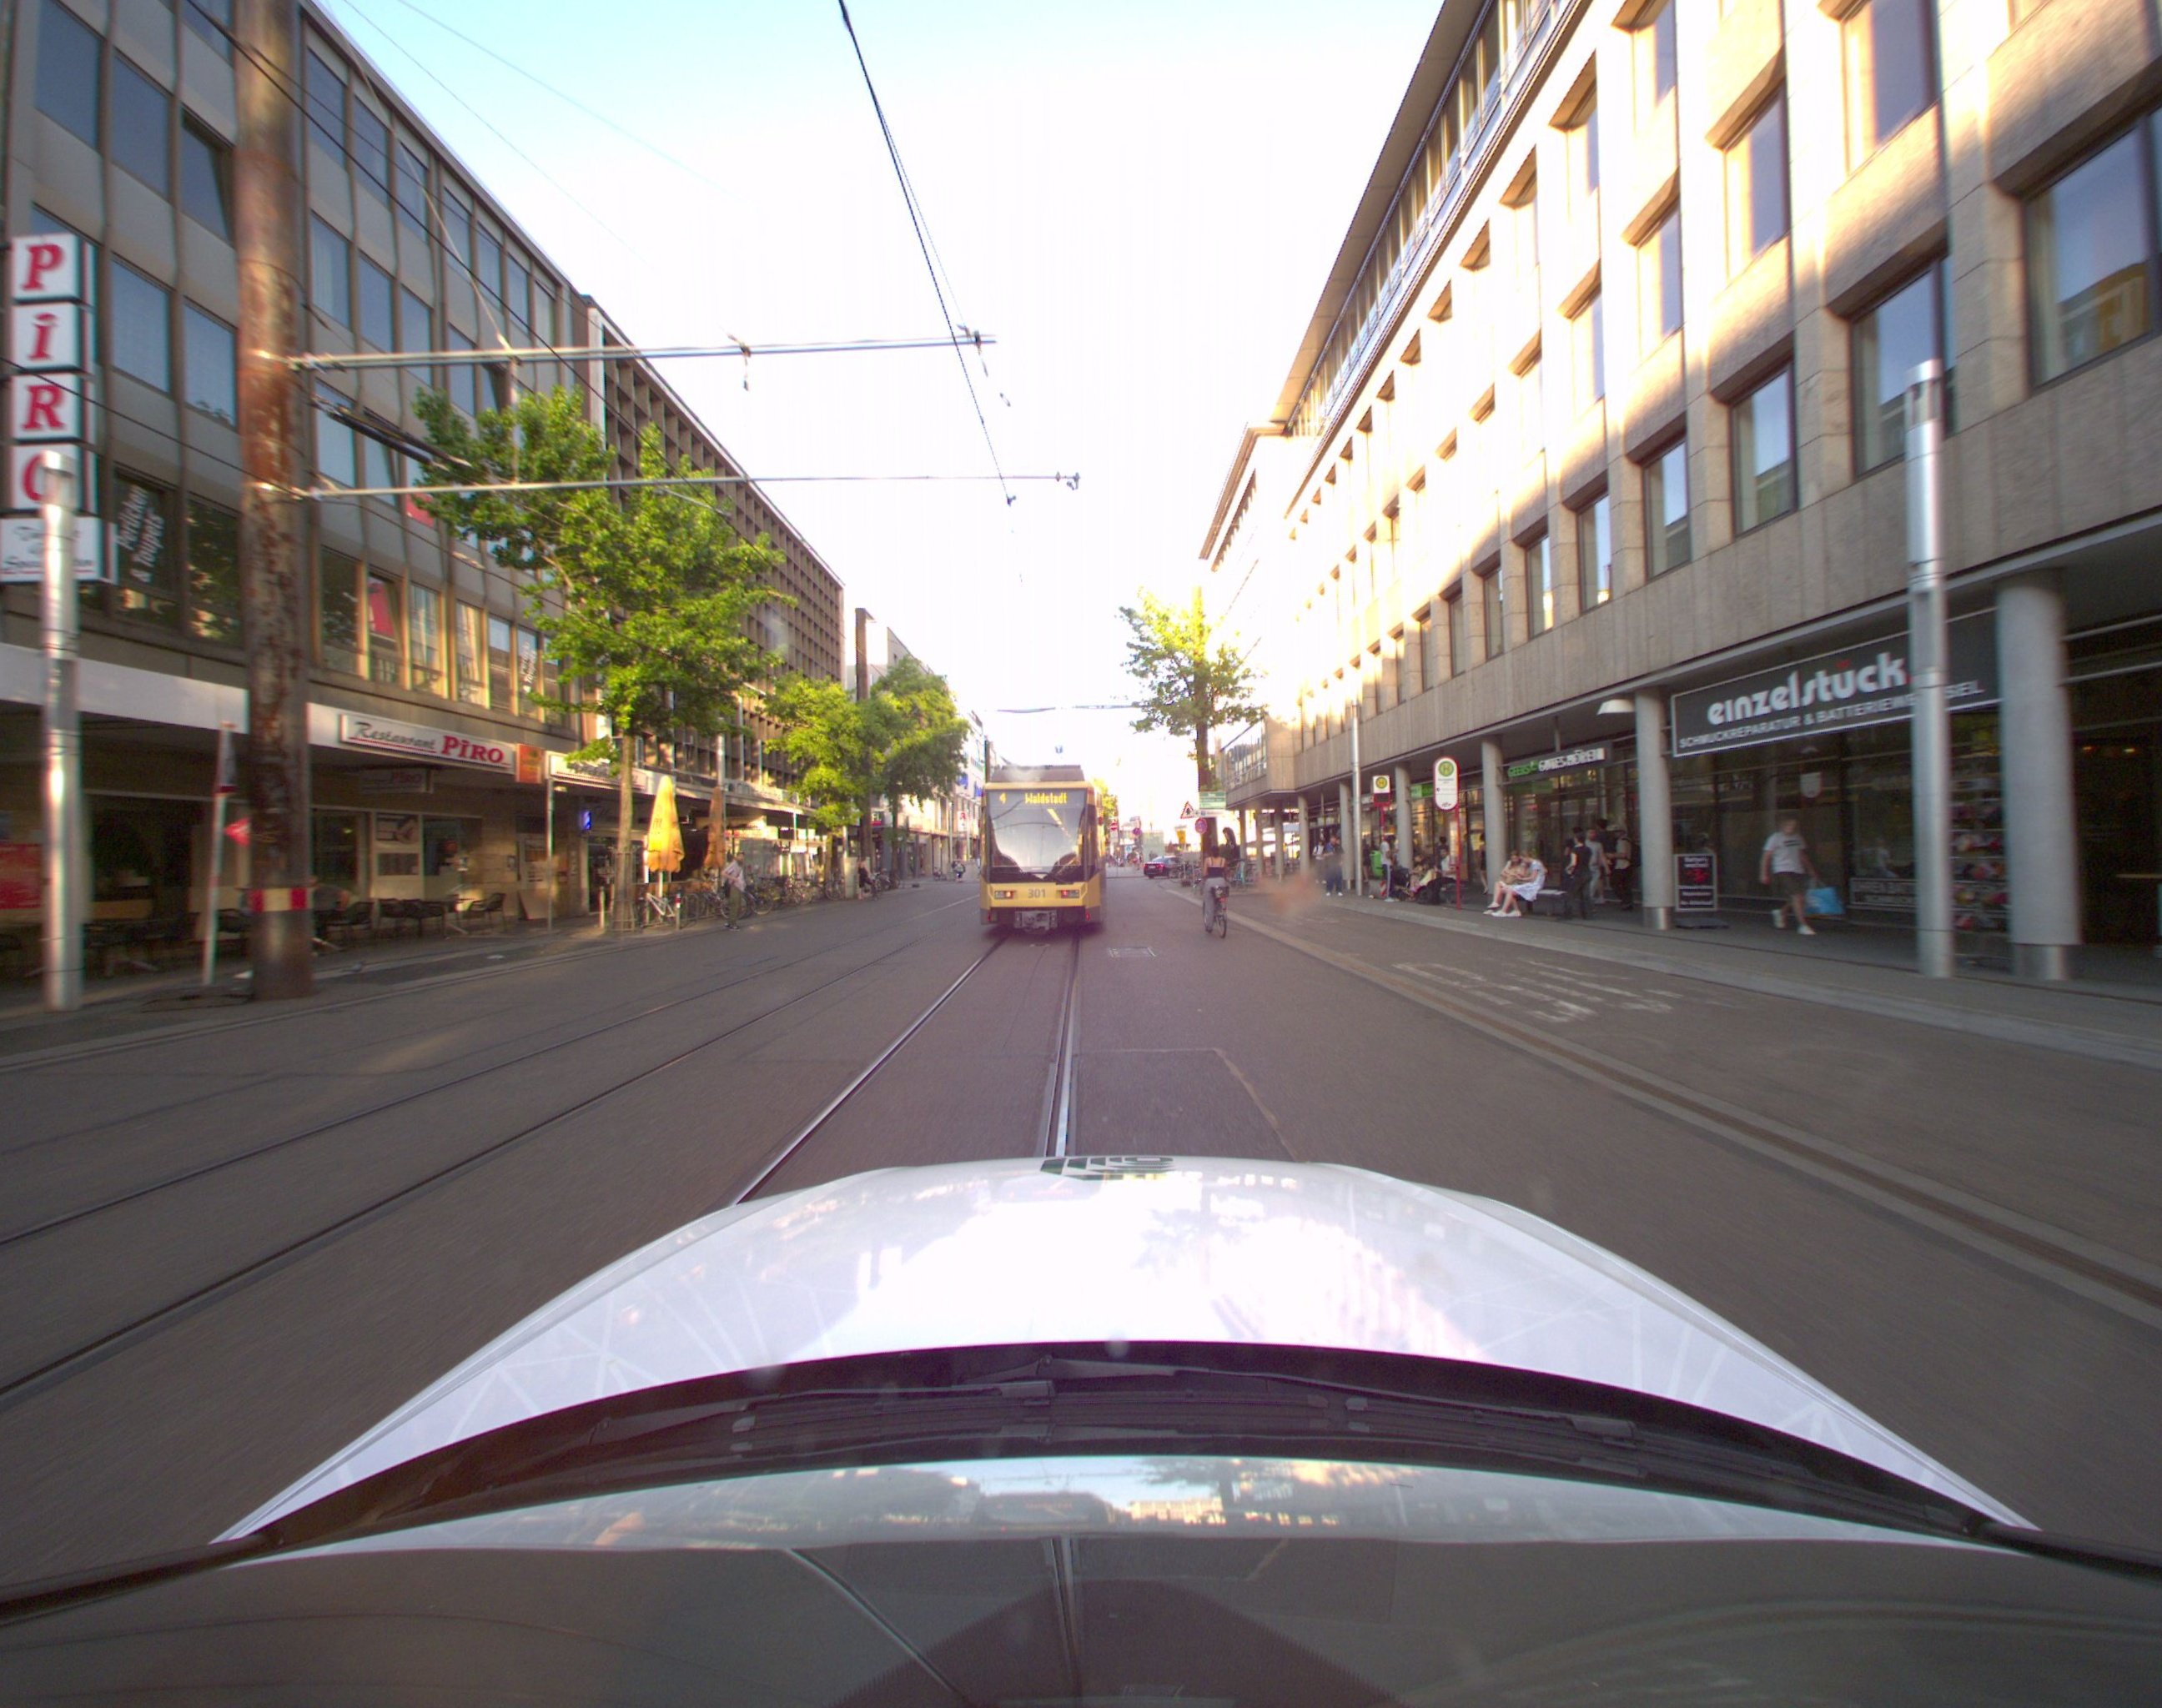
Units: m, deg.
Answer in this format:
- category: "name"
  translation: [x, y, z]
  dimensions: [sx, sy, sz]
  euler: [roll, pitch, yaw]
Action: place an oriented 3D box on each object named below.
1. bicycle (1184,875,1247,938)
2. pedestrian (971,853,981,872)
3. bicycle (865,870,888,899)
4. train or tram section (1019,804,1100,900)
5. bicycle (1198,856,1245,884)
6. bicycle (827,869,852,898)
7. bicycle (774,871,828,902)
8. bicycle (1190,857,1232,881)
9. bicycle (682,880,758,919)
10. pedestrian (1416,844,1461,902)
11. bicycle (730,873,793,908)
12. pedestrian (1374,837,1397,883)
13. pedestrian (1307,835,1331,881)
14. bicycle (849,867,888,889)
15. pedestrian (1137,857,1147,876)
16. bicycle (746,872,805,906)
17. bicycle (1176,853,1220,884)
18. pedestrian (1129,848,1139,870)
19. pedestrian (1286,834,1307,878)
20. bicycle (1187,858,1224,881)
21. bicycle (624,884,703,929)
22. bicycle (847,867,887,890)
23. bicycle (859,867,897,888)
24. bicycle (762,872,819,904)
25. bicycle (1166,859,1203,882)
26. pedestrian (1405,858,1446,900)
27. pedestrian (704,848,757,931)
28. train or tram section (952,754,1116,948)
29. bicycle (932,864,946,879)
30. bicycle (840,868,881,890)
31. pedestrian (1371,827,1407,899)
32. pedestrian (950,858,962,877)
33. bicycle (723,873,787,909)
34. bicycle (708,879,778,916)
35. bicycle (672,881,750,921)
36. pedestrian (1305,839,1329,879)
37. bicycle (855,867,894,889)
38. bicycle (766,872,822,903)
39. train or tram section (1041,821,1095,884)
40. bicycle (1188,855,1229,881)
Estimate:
- category: "bicycle"
  translation: [2.554, 0.969, 15.731]
  dimensions: [0.813, 1.073, 2.112]
  euler: [0, 0, -2]
- category: "pedestrian"
  translation: [-9.830, 0.798, 76.131]
  dimensions: [0.632, 1.725, 0.598]
  euler: [-1, -2, -43]
- category: "bicycle"
  translation: [-7.989, 1.176, 31.819]
  dimensions: [0.486, 1.045, 1.776]
  euler: [-1, 0, -2]
- category: "train or tram section"
  translation: [-0.722, -0.075, 36.043]
  dimensions: [2.791, 3.319, 14.507]
  euler: [-2, 0, 0]
- category: "bicycle"
  translation: [6.602, 0.753, 38.320]
  dimensions: [1.992, 1.155, 0.724]
  euler: [-4, 0, -5]
- category: "bicycle"
  translation: [-9.358, 1.141, 31.628]
  dimensions: [0.486, 1.045, 1.776]
  euler: [-1, 0, -2]
- category: "bicycle"
  translation: [-10.070, 1.170, 29.333]
  dimensions: [1.769, 1.071, 0.488]
  euler: [0, 0, -6]
- category: "bicycle"
  translation: [6.590, 0.775, 41.331]
  dimensions: [1.912, 1.077, 0.762]
  euler: [-4, 0, -5]
- category: "bicycle"
  translation: [-9.616, 1.214, 21.722]
  dimensions: [1.769, 0.990, 0.488]
  euler: [0, 1, -6]
- category: "pedestrian"
  translation: [8.749, 0.452, 19.946]
  dimensions: [0.810, 1.381, 0.662]
  euler: [-1, -1, 2]
- category: "bicycle"
  translation: [-10.049, 1.141, 25.674]
  dimensions: [1.769, 1.071, 0.488]
  euler: [0, 0, -6]
- category: "pedestrian"
  translation: [11.666, 0.220, 31.240]
  dimensions: [0.568, 1.731, 0.617]
  euler: [-2, -1, -1]
- category: "pedestrian"
  translation: [9.767, 0.179, 33.463]
  dimensions: [0.666, 1.839, 0.880]
  euler: [-2, -1, 0]
- category: "bicycle"
  translation: [-10.218, 1.169, 39.197]
  dimensions: [1.766, 1.045, 0.489]
  euler: [0, 0, 0]
- category: "pedestrian"
  translation: [6.011, 1.211, 80.833]
  dimensions: [0.734, 1.823, 0.816]
  euler: [-1, 0, -14]
- category: "bicycle"
  translation: [-10.085, 1.151, 26.915]
  dimensions: [1.769, 1.071, 0.488]
  euler: [0, 0, -6]
- category: "bicycle"
  translation: [5.623, 0.690, 39.243]
  dimensions: [1.912, 1.333, 0.724]
  euler: [-4, 0, -5]
- category: "pedestrian"
  translation: [4.215, 0.407, 65.359]
  dimensions: [0.715, 1.725, 0.709]
  euler: [-2, -1, 0]
- category: "pedestrian"
  translation: [10.069, 0.108, 38.111]
  dimensions: [0.684, 2.013, 0.783]
  euler: [-2, -1, 1]
- category: "bicycle"
  translation: [6.669, 0.810, 43.666]
  dimensions: [1.848, 1.109, 0.666]
  euler: [-3, 0, -3]
- category: "bicycle"
  translation: [-9.622, 1.196, 18.771]
  dimensions: [1.758, 0.966, 0.491]
  euler: [0, -1, 17]
- category: "bicycle"
  translation: [-10.224, 1.167, 38.954]
  dimensions: [1.766, 1.045, 0.489]
  euler: [0, 0, 0]
- category: "bicycle"
  translation: [-10.163, 1.181, 40.838]
  dimensions: [1.766, 1.045, 0.489]
  euler: [0, 0, 0]
- category: "bicycle"
  translation: [-10.038, 1.160, 28.135]
  dimensions: [1.769, 1.071, 0.488]
  euler: [0, 0, -6]
- category: "bicycle"
  translation: [5.532, 0.867, 43.525]
  dimensions: [1.848, 1.109, 0.666]
  euler: [-3, 0, -3]
- category: "pedestrian"
  translation: [8.786, 0.634, 20.788]
  dimensions: [0.810, 1.042, 0.544]
  euler: [-1, -1, 2]
- category: "pedestrian"
  translation: [-7.940, 0.783, 18.441]
  dimensions: [0.826, 1.792, 0.979]
  euler: [-1, -1, -40]
- category: "train or tram section"
  translation: [-0.795, -0.067, 21.540]
  dimensions: [2.791, 3.319, 14.507]
  euler: [-2, 0, 0]
- category: "bicycle"
  translation: [-10.809, 1.320, 62.079]
  dimensions: [0.496, 1.107, 1.803]
  euler: [-2, 1, 6]
- category: "bicycle"
  translation: [-10.216, 1.158, 37.804]
  dimensions: [1.766, 1.045, 0.489]
  euler: [0, 0, 0]
- category: "pedestrian"
  translation: [8.069, 0.225, 21.365]
  dimensions: [0.637, 1.839, 0.668]
  euler: [-2, -1, 1]
- category: "pedestrian"
  translation: [-9.292, 1.004, 60.663]
  dimensions: [0.548, 1.434, 0.689]
  euler: [-3, -2, 38]
- category: "bicycle"
  translation: [-10.036, 1.136, 25.097]
  dimensions: [1.769, 1.071, 0.488]
  euler: [0, 0, -6]
- category: "bicycle"
  translation: [-9.593, 1.225, 23.134]
  dimensions: [1.769, 0.990, 0.488]
  euler: [0, 1, -6]
- category: "bicycle"
  translation: [-9.614, 1.210, 21.194]
  dimensions: [1.769, 0.990, 0.488]
  euler: [0, 1, -6]
- category: "pedestrian"
  translation: [10.299, 0.216, 35.564]
  dimensions: [0.760, 1.719, 0.924]
  euler: [-3, -1, 2]
- category: "bicycle"
  translation: [-10.206, 1.177, 40.258]
  dimensions: [1.766, 1.045, 0.489]
  euler: [0, 0, 0]
- category: "bicycle"
  translation: [-10.087, 1.165, 28.680]
  dimensions: [1.769, 1.071, 0.488]
  euler: [0, 0, -6]
- category: "train or tram section"
  translation: [-0.657, -0.086, 50.521]
  dimensions: [2.791, 3.319, 14.507]
  euler: [-2, 0, 0]
- category: "bicycle"
  translation: [6.599, 0.706, 42.078]
  dimensions: [1.912, 1.222, 0.762]
  euler: [-4, 0, -5]
